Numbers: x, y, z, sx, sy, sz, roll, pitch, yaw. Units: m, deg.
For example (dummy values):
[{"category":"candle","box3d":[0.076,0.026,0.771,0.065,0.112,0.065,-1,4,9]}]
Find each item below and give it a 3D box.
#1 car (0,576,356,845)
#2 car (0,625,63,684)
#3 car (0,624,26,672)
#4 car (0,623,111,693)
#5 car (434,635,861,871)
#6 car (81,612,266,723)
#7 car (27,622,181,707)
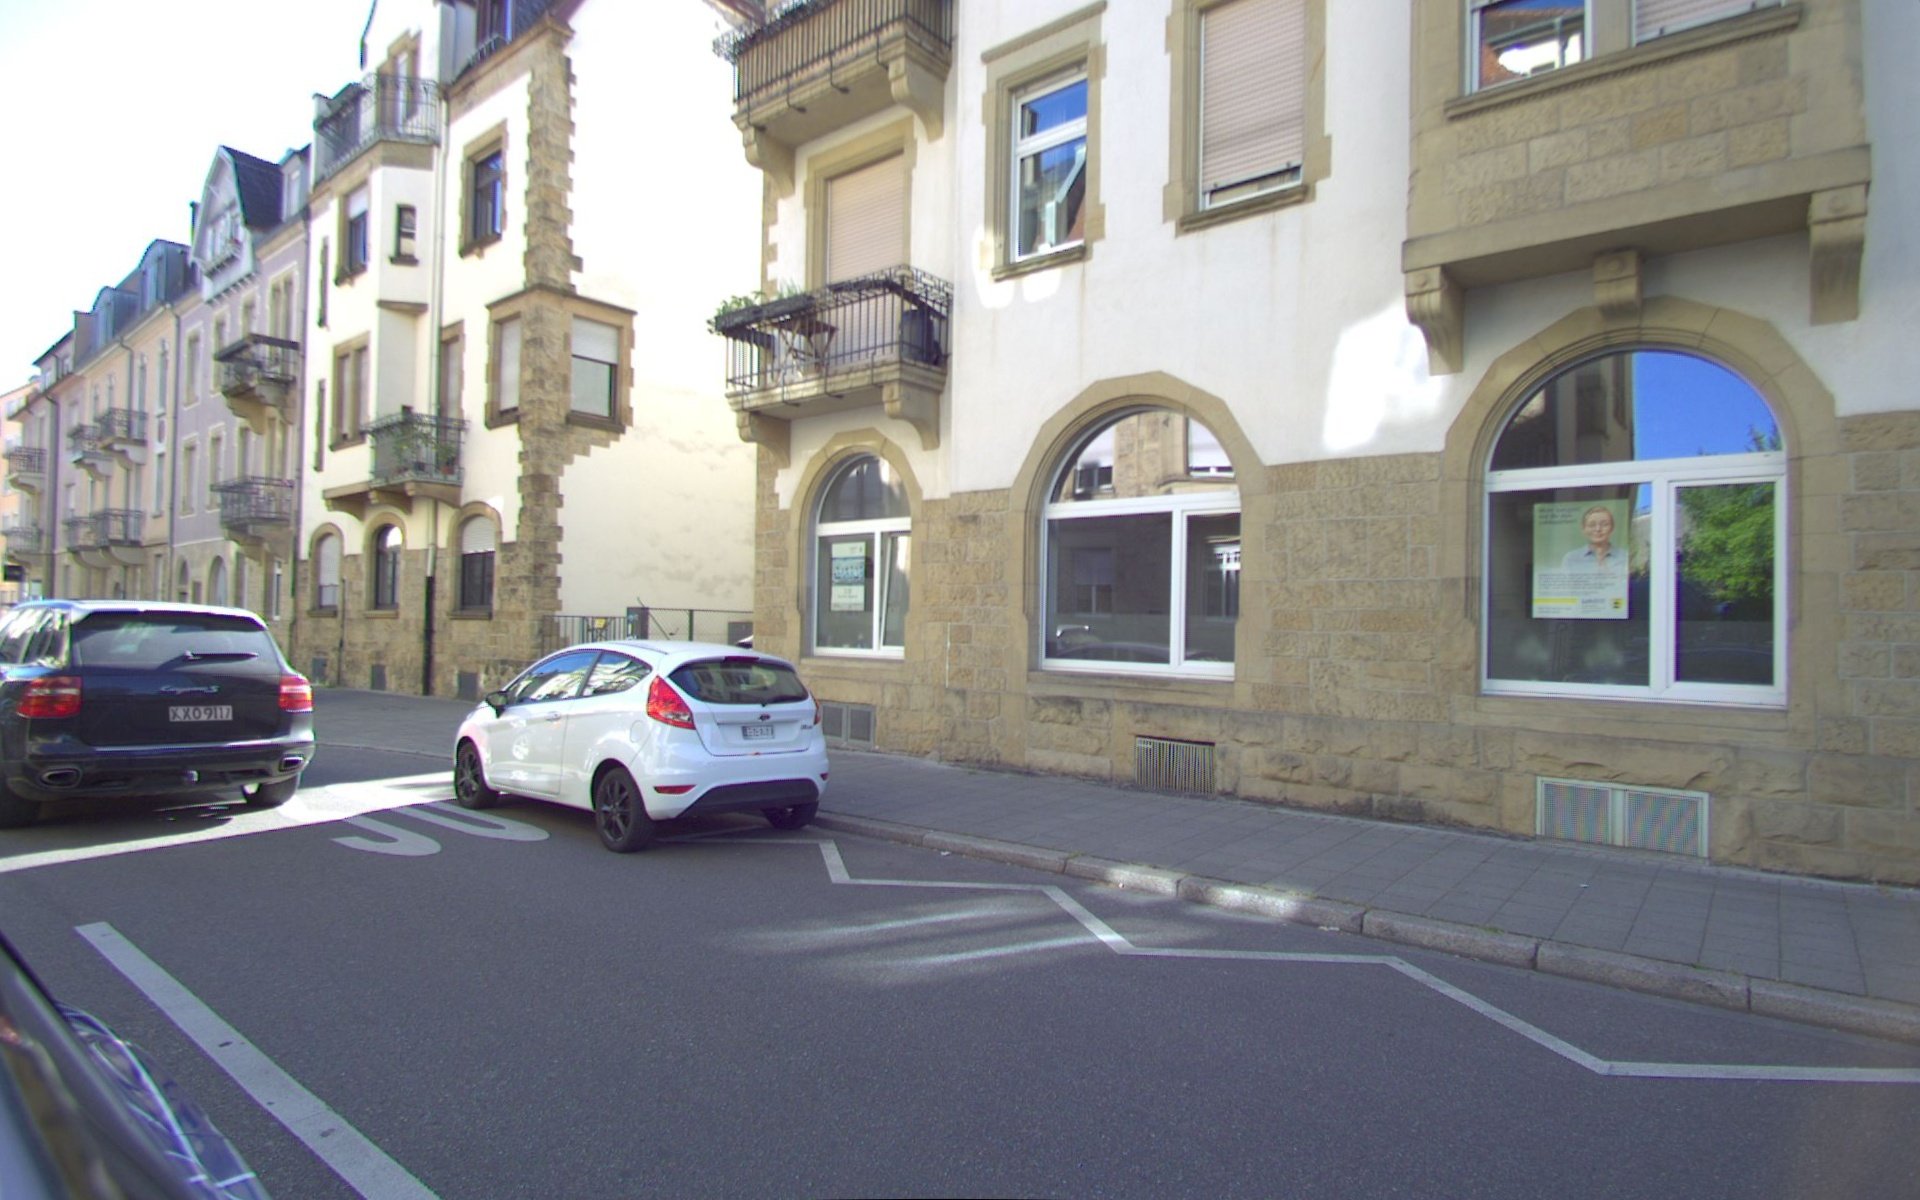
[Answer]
[{"category":"car","box3d":[-7.309,0.821,8.729,4.703,1.707,2.052,-2,-4,39]},{"category":"car","box3d":[-27.163,1.516,28.869,4.317,1.511,1.833,-1,0,41]},{"category":"car","box3d":[-33.147,1.607,34.217,4.319,1.520,1.866,-1,0,41]},{"category":"car","box3d":[-22.954,1.383,25.430,4.319,1.520,1.866,-1,0,41]},{"category":"car","box3d":[-2.643,1.045,8.177,3.642,1.469,1.634,-2,-5,42]},{"category":"car","box3d":[-14.224,1.102,18.229,4.209,1.740,1.866,-1,0,41]},{"category":"car","box3d":[-18.450,1.290,21.749,4.319,1.519,1.866,-1,2,41]}]
